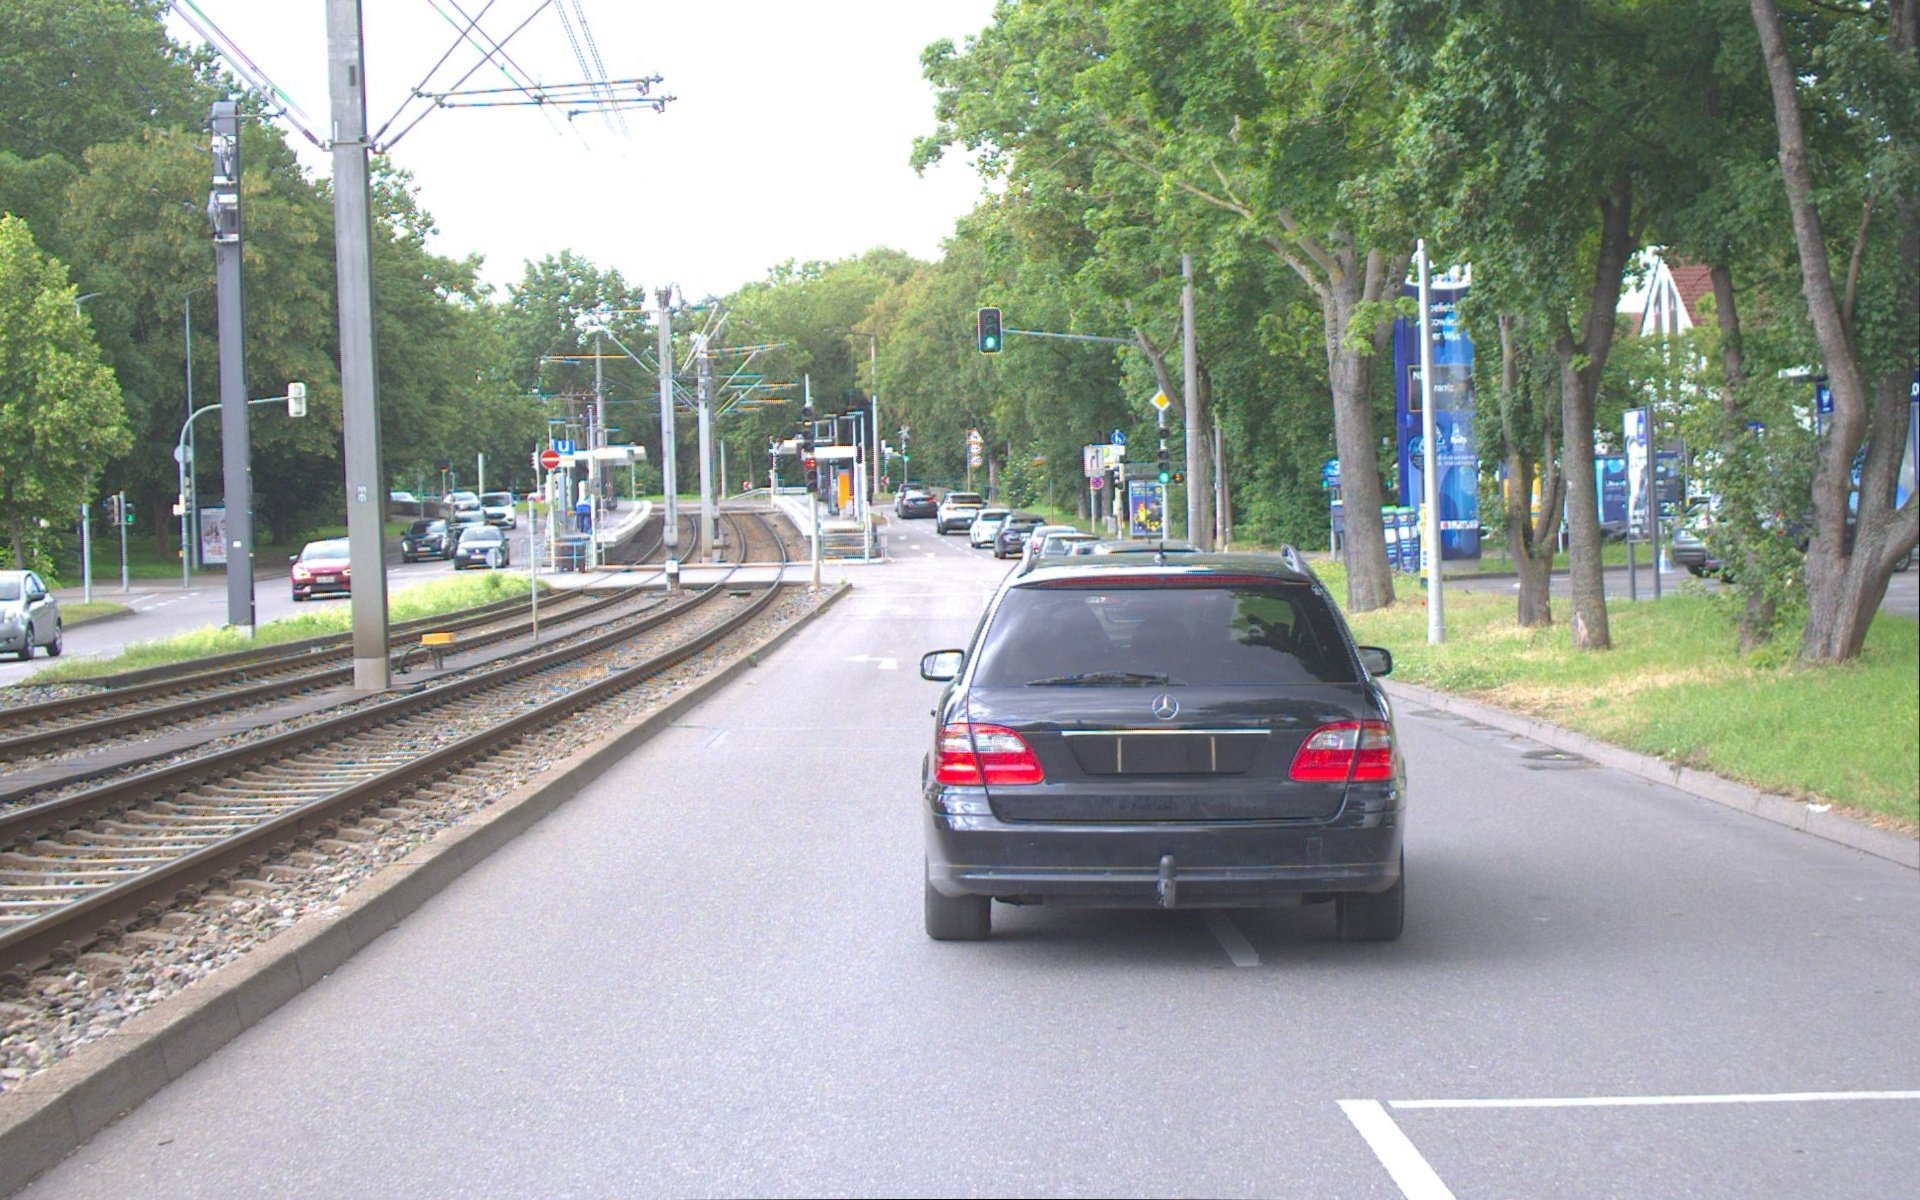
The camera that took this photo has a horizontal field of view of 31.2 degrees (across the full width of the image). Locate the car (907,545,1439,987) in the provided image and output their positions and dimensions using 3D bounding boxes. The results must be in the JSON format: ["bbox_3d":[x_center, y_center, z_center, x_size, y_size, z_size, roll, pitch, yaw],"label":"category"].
[{"bbox_3d":[0.710,0.536,13.658,1.808,1.469,3.881,0,1,0],"label":"car"}]

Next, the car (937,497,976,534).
[{"bbox_3d":[-0.168,-3.642,148.653,1.649,1.549,3.648,0,1,0],"label":"car"}]

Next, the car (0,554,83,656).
[{"bbox_3d":[-16.020,0.059,57.508,1.765,1.641,3.771,0,1,0],"label":"car"}]

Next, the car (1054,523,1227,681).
[{"bbox_3d":[2.060,-0.005,40.172,1.780,1.744,3.718,0,1,-1],"label":"car"}]

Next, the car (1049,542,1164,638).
[{"bbox_3d":[2.208,-0.169,52.497,1.571,1.410,3.354,0,1,-1],"label":"car"}]

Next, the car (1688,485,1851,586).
[{"bbox_3d":[14.663,-1.183,62.086,2.008,1.677,4.574,-1,2,24],"label":"car"}]

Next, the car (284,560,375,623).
[{"bbox_3d":[-16.799,-0.244,91.791,1.765,1.641,3.771,0,1,0],"label":"car"}]

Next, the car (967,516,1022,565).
[{"bbox_3d":[1.294,-2.261,130.244,1.993,1.831,4.000,0,1,-1],"label":"car"}]

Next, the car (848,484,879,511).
[{"bbox_3d":[-5.623,-5.935,199.933,1.666,1.527,3.771,0,1,-4],"label":"car"}]

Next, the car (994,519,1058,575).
[{"bbox_3d":[2.177,-1.749,113.673,1.993,1.831,4.000,0,1,-1],"label":"car"}]

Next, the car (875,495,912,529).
[{"bbox_3d":[-3.597,-4.753,186.060,1.993,1.831,4.000,0,1,-1],"label":"car"}]

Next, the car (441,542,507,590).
[{"bbox_3d":[-16.797,-1.201,119.016,1.765,1.641,3.771,0,1,0],"label":"car"}]
